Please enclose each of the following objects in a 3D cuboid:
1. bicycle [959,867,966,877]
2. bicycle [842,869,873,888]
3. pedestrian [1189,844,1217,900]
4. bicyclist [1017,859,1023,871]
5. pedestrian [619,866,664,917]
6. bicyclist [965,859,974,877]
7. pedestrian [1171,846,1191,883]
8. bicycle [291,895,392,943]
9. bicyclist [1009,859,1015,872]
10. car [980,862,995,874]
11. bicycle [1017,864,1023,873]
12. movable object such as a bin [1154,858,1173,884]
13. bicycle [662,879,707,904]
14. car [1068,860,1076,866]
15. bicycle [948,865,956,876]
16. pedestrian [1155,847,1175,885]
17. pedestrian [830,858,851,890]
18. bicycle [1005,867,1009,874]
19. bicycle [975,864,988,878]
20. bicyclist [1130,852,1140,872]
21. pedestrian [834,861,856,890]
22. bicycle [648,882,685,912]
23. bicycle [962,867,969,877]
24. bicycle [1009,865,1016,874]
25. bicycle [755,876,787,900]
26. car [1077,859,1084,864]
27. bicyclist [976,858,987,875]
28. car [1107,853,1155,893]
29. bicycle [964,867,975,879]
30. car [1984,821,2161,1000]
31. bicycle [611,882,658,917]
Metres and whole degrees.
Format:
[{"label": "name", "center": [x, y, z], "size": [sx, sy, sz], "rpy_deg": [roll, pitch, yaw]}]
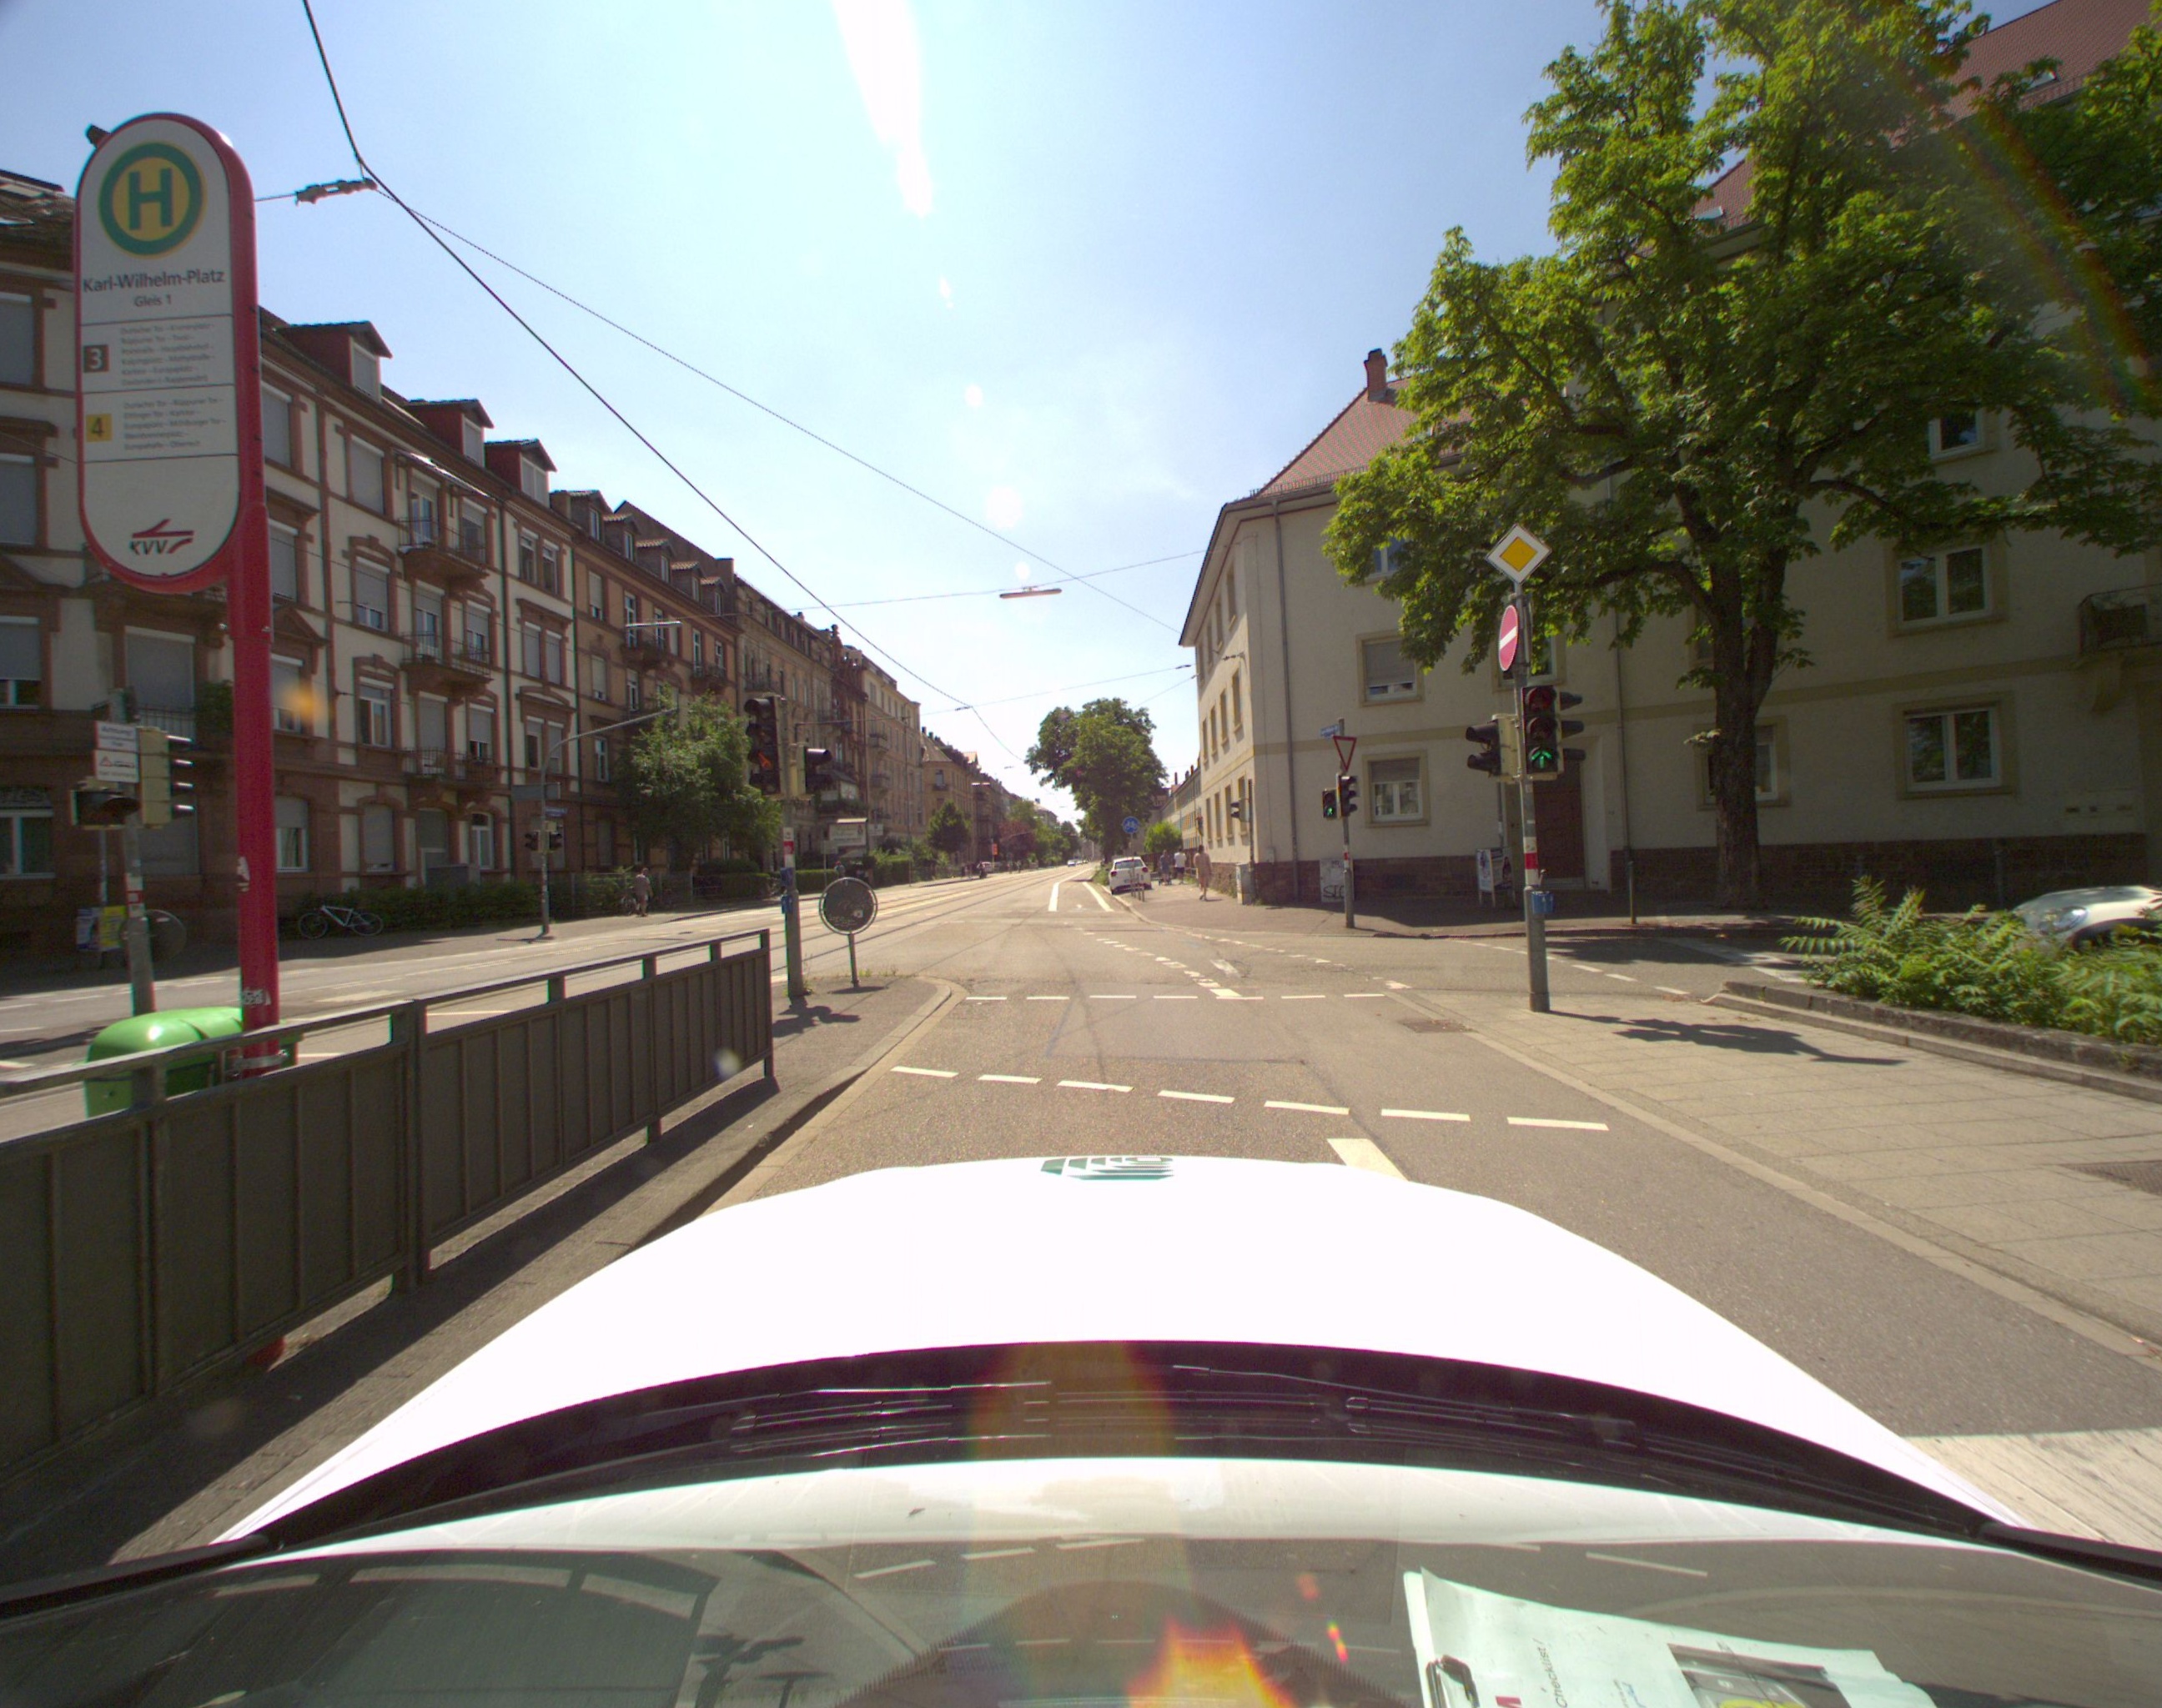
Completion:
[{"label": "bicycle", "center": [-12.501, 1.897, 85.754], "size": [0.437, 0.983, 1.711], "rpy_deg": [-2, 0, 0]}, {"label": "bicycle", "center": [-14.790, 1.634, 53.971], "size": [1.865, 1.227, 0.568], "rpy_deg": [0, -1, -1]}, {"label": "pedestrian", "center": [3.760, 0.555, 25.174], "size": [0.695, 1.669, 0.756], "rpy_deg": [-2, -1, 0]}, {"label": "bicyclist", "center": [-7.908, 1.449, 105.112], "size": [0.590, 1.544, 0.952], "rpy_deg": [-4, 0, 1]}, {"label": "pedestrian", "center": [-15.382, 1.309, 28.523], "size": [0.867, 1.700, 1.015], "rpy_deg": [-2, -1, 8]}, {"label": "bicyclist", "center": [-9.804, 1.221, 71.664], "size": [0.560, 1.515, 0.892], "rpy_deg": [-3, 0, 2]}, {"label": "pedestrian", "center": [4.620, 0.483, 37.796], "size": [0.695, 1.669, 0.756], "rpy_deg": [-5, -1, 1]}, {"label": "bicycle", "center": [-19.772, 1.711, 21.821], "size": [0.461, 1.108, 1.936], "rpy_deg": [-3, 0, 40]}, {"label": "bicyclist", "center": [-8.921, 1.465, 105.048], "size": [0.631, 1.584, 1.029], "rpy_deg": [-4, 0, 2]}, {"label": "car", "center": [-13.074, 1.981, 113.875], "size": [1.861, 1.600, 4.097], "rpy_deg": [-1, -1, -3]}, {"label": "bicycle", "center": [-7.881, 1.920, 105.092], "size": [0.579, 1.078, 1.891], "rpy_deg": [-4, 0, 2]}, {"label": "movable object such as a bin", "center": [3.908, 0.791, 38.549], "size": [0.695, 1.186, 1.036], "rpy_deg": [-5, -1, 1]}, {"label": "bicycle", "center": [-16.728, 1.575, 34.364], "size": [1.639, 0.996, 0.495], "rpy_deg": [-2, -1, 3]}, {"label": "car", "center": [-2.103, 2.062, 190.018], "size": [1.678, 1.449, 4.001], "rpy_deg": [-3, 0, 2]}, {"label": "bicycle", "center": [-12.779, 1.628, 80.615], "size": [0.495, 0.987, 1.711], "rpy_deg": [2, 0, 0]}, {"label": "pedestrian", "center": [3.862, 0.544, 37.595], "size": [0.695, 1.669, 0.869], "rpy_deg": [-5, -1, 1]}, {"label": "pedestrian", "center": [-14.499, 1.191, 49.020], "size": [0.867, 1.857, 0.821], "rpy_deg": [-3, -1, 44]}, {"label": "bicycle", "center": [-11.110, 2.436, 122.887], "size": [0.452, 1.003, 1.805], "rpy_deg": [-2, 0, -1]}, {"label": "bicycle", "center": [-9.619, 1.642, 78.882], "size": [0.804, 1.271, 2.552], "rpy_deg": [-3, 0, 3]}, {"label": "bicyclist", "center": [4.085, 0.618, 61.425], "size": [0.708, 1.452, 1.011], "rpy_deg": [-3, 0, 4]}, {"label": "pedestrian", "center": [-14.464, 1.310, 49.973], "size": [0.899, 1.700, 0.829], "rpy_deg": [-3, -1, 29]}, {"label": "bicycle", "center": [-16.018, 1.651, 31.522], "size": [0.457, 1.056, 1.567], "rpy_deg": [-2, 0, 5]}, {"label": "bicycle", "center": [-12.411, 1.929, 87.795], "size": [0.437, 0.983, 1.711], "rpy_deg": [-2, 0, 0]}, {"label": "bicycle", "center": [-8.896, 1.959, 105.077], "size": [0.627, 1.078, 1.876], "rpy_deg": [-4, 0, 2]}, {"label": "bicycle", "center": [-14.887, 1.615, 39.102], "size": [0.635, 1.093, 1.934], "rpy_deg": [0, 0, 5]}, {"label": "car", "center": [-0.131, 2.287, 248.519], "size": [1.749, 1.424, 4.002], "rpy_deg": [-3, -1, 2]}, {"label": "bicyclist", "center": [-9.639, 1.175, 78.835], "size": [0.804, 1.629, 0.981], "rpy_deg": [-3, 0, 2]}, {"label": "car", "center": [2.098, 0.793, 35.214], "size": [1.771, 1.410, 4.157], "rpy_deg": [-7, 0, 1]}, {"label": "bicycle", "center": [-9.793, 1.646, 71.678], "size": [0.565, 1.038, 1.830], "rpy_deg": [-3, 0, 3]}, {"label": "car", "center": [10.038, 0.411, 6.538], "size": [3.581, 1.446, 1.706], "rpy_deg": [-3, -1, 45]}, {"label": "bicycle", "center": [-16.080, 1.620, 29.367], "size": [0.570, 1.169, 1.718], "rpy_deg": [-2, 0, 5]}]
